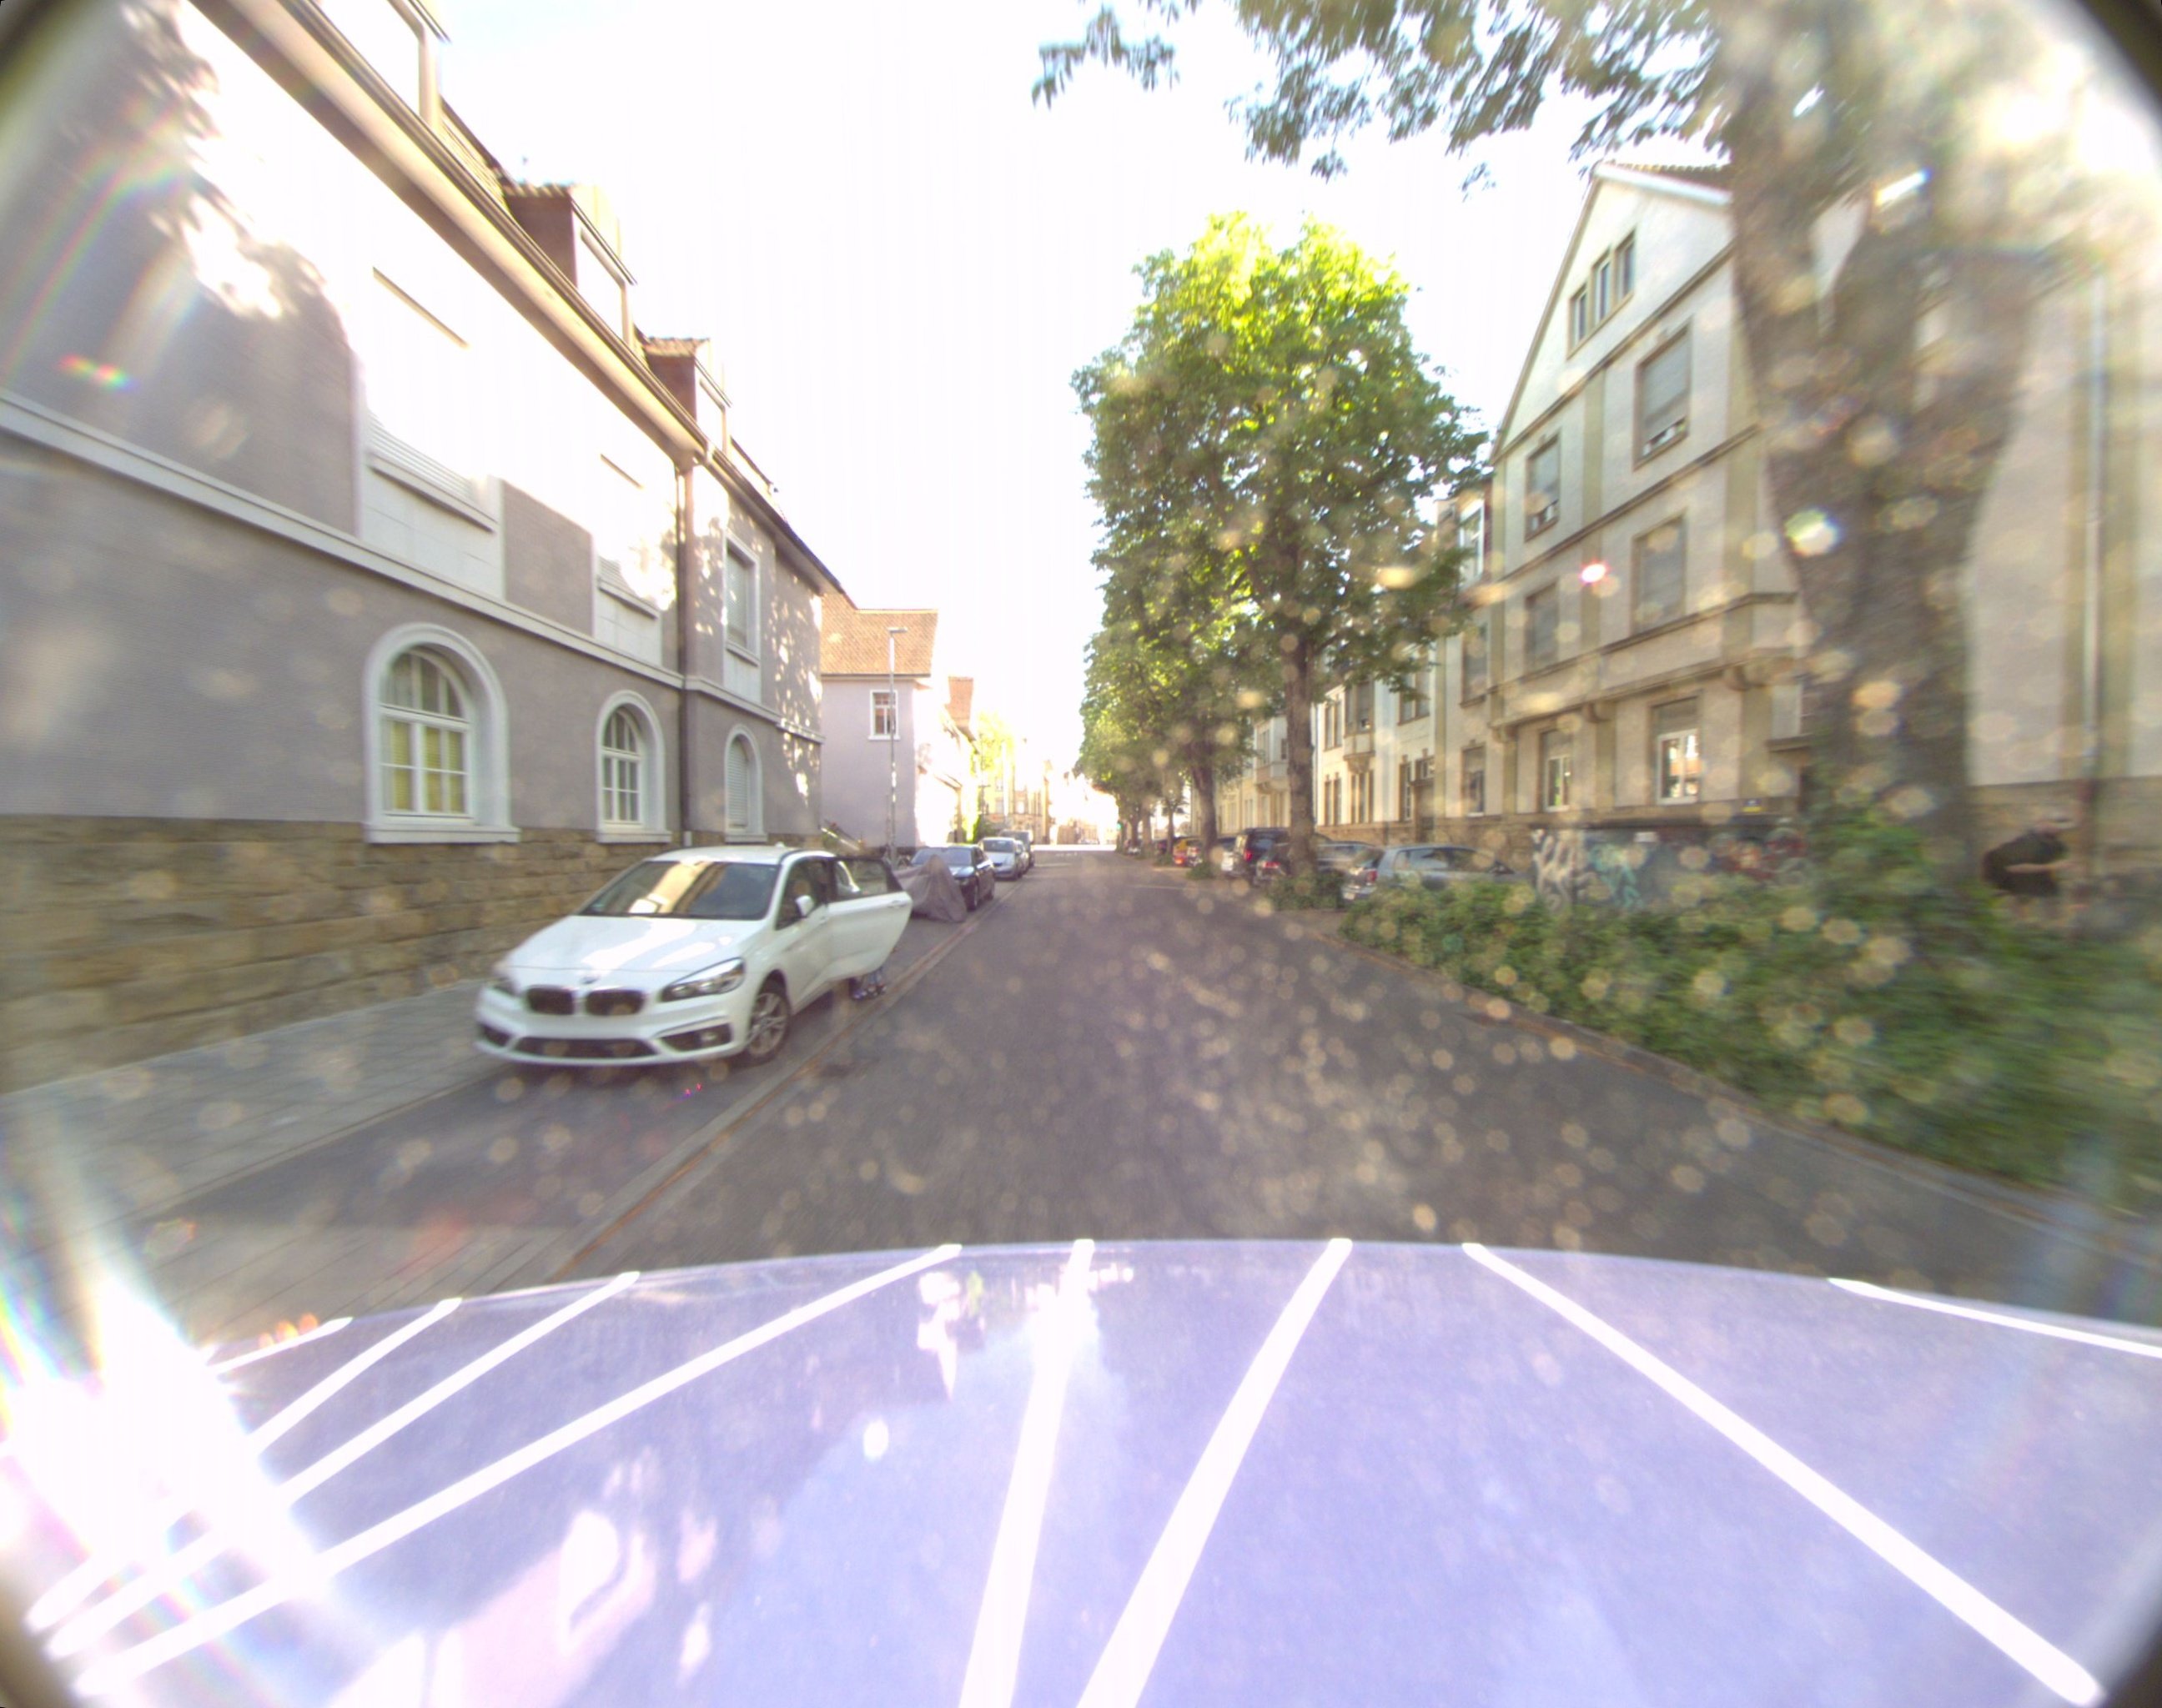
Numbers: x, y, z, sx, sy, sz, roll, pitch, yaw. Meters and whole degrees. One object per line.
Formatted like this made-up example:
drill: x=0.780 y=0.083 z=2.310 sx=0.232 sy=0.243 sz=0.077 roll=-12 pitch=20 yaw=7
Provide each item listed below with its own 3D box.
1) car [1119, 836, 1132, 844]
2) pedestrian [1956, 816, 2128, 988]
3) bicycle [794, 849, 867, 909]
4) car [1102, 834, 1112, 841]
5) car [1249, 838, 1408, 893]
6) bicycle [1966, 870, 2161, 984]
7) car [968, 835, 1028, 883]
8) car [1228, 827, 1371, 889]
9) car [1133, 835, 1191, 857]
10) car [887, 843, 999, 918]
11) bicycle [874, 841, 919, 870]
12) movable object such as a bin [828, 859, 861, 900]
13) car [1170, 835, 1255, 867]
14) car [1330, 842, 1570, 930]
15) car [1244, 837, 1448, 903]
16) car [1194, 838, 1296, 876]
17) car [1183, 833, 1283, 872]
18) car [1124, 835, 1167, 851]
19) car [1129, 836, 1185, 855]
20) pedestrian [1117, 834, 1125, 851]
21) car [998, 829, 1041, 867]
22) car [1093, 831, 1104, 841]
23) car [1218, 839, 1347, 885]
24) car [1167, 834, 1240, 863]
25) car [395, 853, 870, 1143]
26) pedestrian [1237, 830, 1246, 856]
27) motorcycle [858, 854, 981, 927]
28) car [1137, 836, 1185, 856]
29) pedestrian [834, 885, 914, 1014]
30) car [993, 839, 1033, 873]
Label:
car: x=9.414 y=-2.983 z=159.760 sx=1.916 sy=1.650 sz=4.349 roll=-3 pitch=1 yaw=12
pedestrian: x=9.753 y=0.453 z=7.750 sx=0.634 sy=1.650 sz=0.832 roll=-1 pitch=2 yaw=0
bicycle: x=-6.027 y=0.565 z=18.467 sx=1.085 sy=1.330 sz=2.249 roll=0 pitch=2 yaw=-1
car: x=6.453 y=-4.151 z=186.997 sx=1.832 sy=1.586 sz=3.822 roll=-2 pitch=0 yaw=9
car: x=7.098 y=0.304 z=22.029 sx=3.990 sy=1.429 sz=1.828 roll=-1 pitch=2 yaw=-3
bicycle: x=11.476 y=0.773 z=8.708 sx=0.629 sy=1.091 sz=1.698 roll=-1 pitch=2 yaw=-1
car: x=-3.131 y=0.127 z=29.408 sx=1.793 sy=1.591 sz=3.998 roll=2 pitch=2 yaw=0
car: x=6.819 y=0.093 z=24.006 sx=3.990 sy=1.845 sz=1.828 roll=-1 pitch=2 yaw=-2
car: x=5.838 y=-0.616 z=55.205 sx=3.997 sy=1.474 sz=1.784 roll=-1 pitch=2 yaw=1
car: x=-3.196 y=0.532 z=18.553 sx=1.859 sy=1.485 sz=4.606 roll=1 pitch=2 yaw=0
bicycle: x=-7.155 y=0.057 z=29.444 sx=1.640 sy=1.094 sz=0.395 roll=0 pitch=2 yaw=-3
movable object such as a bin: x=-6.243 y=0.669 z=20.112 sx=0.649 sy=1.034 sz=0.827 roll=0 pitch=2 yaw=-3
car: x=6.632 y=-0.159 z=38.627 sx=3.997 sy=1.506 sz=1.746 roll=-1 pitch=3 yaw=-1
car: x=6.748 y=0.549 z=14.168 sx=3.684 sy=1.479 sz=1.640 roll=-1 pitch=2 yaw=-1
car: x=6.628 y=0.372 z=19.337 sx=4.544 sy=1.495 sz=1.891 roll=-1 pitch=2 yaw=-2
car: x=6.710 y=0.098 z=31.389 sx=3.911 sy=1.438 sz=1.859 roll=-1 pitch=2 yaw=4
car: x=6.693 y=-0.106 z=33.748 sx=3.997 sy=1.583 sz=1.858 roll=-1 pitch=2 yaw=-1
car: x=5.987 y=-1.037 z=70.872 sx=3.892 sy=1.468 sz=1.614 roll=1 pitch=2 yaw=-1
car: x=6.006 y=-0.700 z=60.085 sx=4.223 sy=1.341 sz=1.702 roll=-1 pitch=3 yaw=-1
pedestrian: x=4.134 y=-1.194 z=78.289 sx=0.695 sy=1.672 sz=0.680 roll=0 pitch=2 yaw=10
car: x=-3.236 y=-0.370 z=40.755 sx=1.870 sy=1.905 sz=4.780 roll=2 pitch=2 yaw=0
car: x=4.038 y=-4.147 z=174.529 sx=1.832 sy=2.023 sz=3.822 roll=-2 pitch=0 yaw=11
car: x=6.917 y=0.260 z=26.319 sx=3.998 sy=1.440 sz=1.740 roll=-1 pitch=2 yaw=-4
car: x=6.856 y=-0.337 z=42.733 sx=3.799 sy=1.454 sz=1.863 roll=-1 pitch=2 yaw=1
car: x=-3.178 y=0.846 z=6.487 sx=1.704 sy=1.531 sz=4.153 roll=2 pitch=2 yaw=-2
pedestrian: x=10.266 y=-0.702 z=48.630 sx=0.461 sy=1.649 sz=0.895 roll=0 pitch=3 yaw=7
motorcycle: x=-3.191 y=0.690 z=15.083 sx=2.196 sy=1.332 sz=0.922 roll=1 pitch=2 yaw=11
car: x=6.054 y=-0.629 z=57.719 sx=3.442 sy=1.444 sz=1.702 roll=-1 pitch=3 yaw=2
pedestrian: x=-2.151 y=0.976 z=7.971 sx=0.726 sy=1.250 sz=0.645 roll=0 pitch=2 yaw=-8
car: x=-3.095 y=0.045 z=35.064 sx=1.683 sy=1.449 sz=4.436 roll=0 pitch=2 yaw=-3
